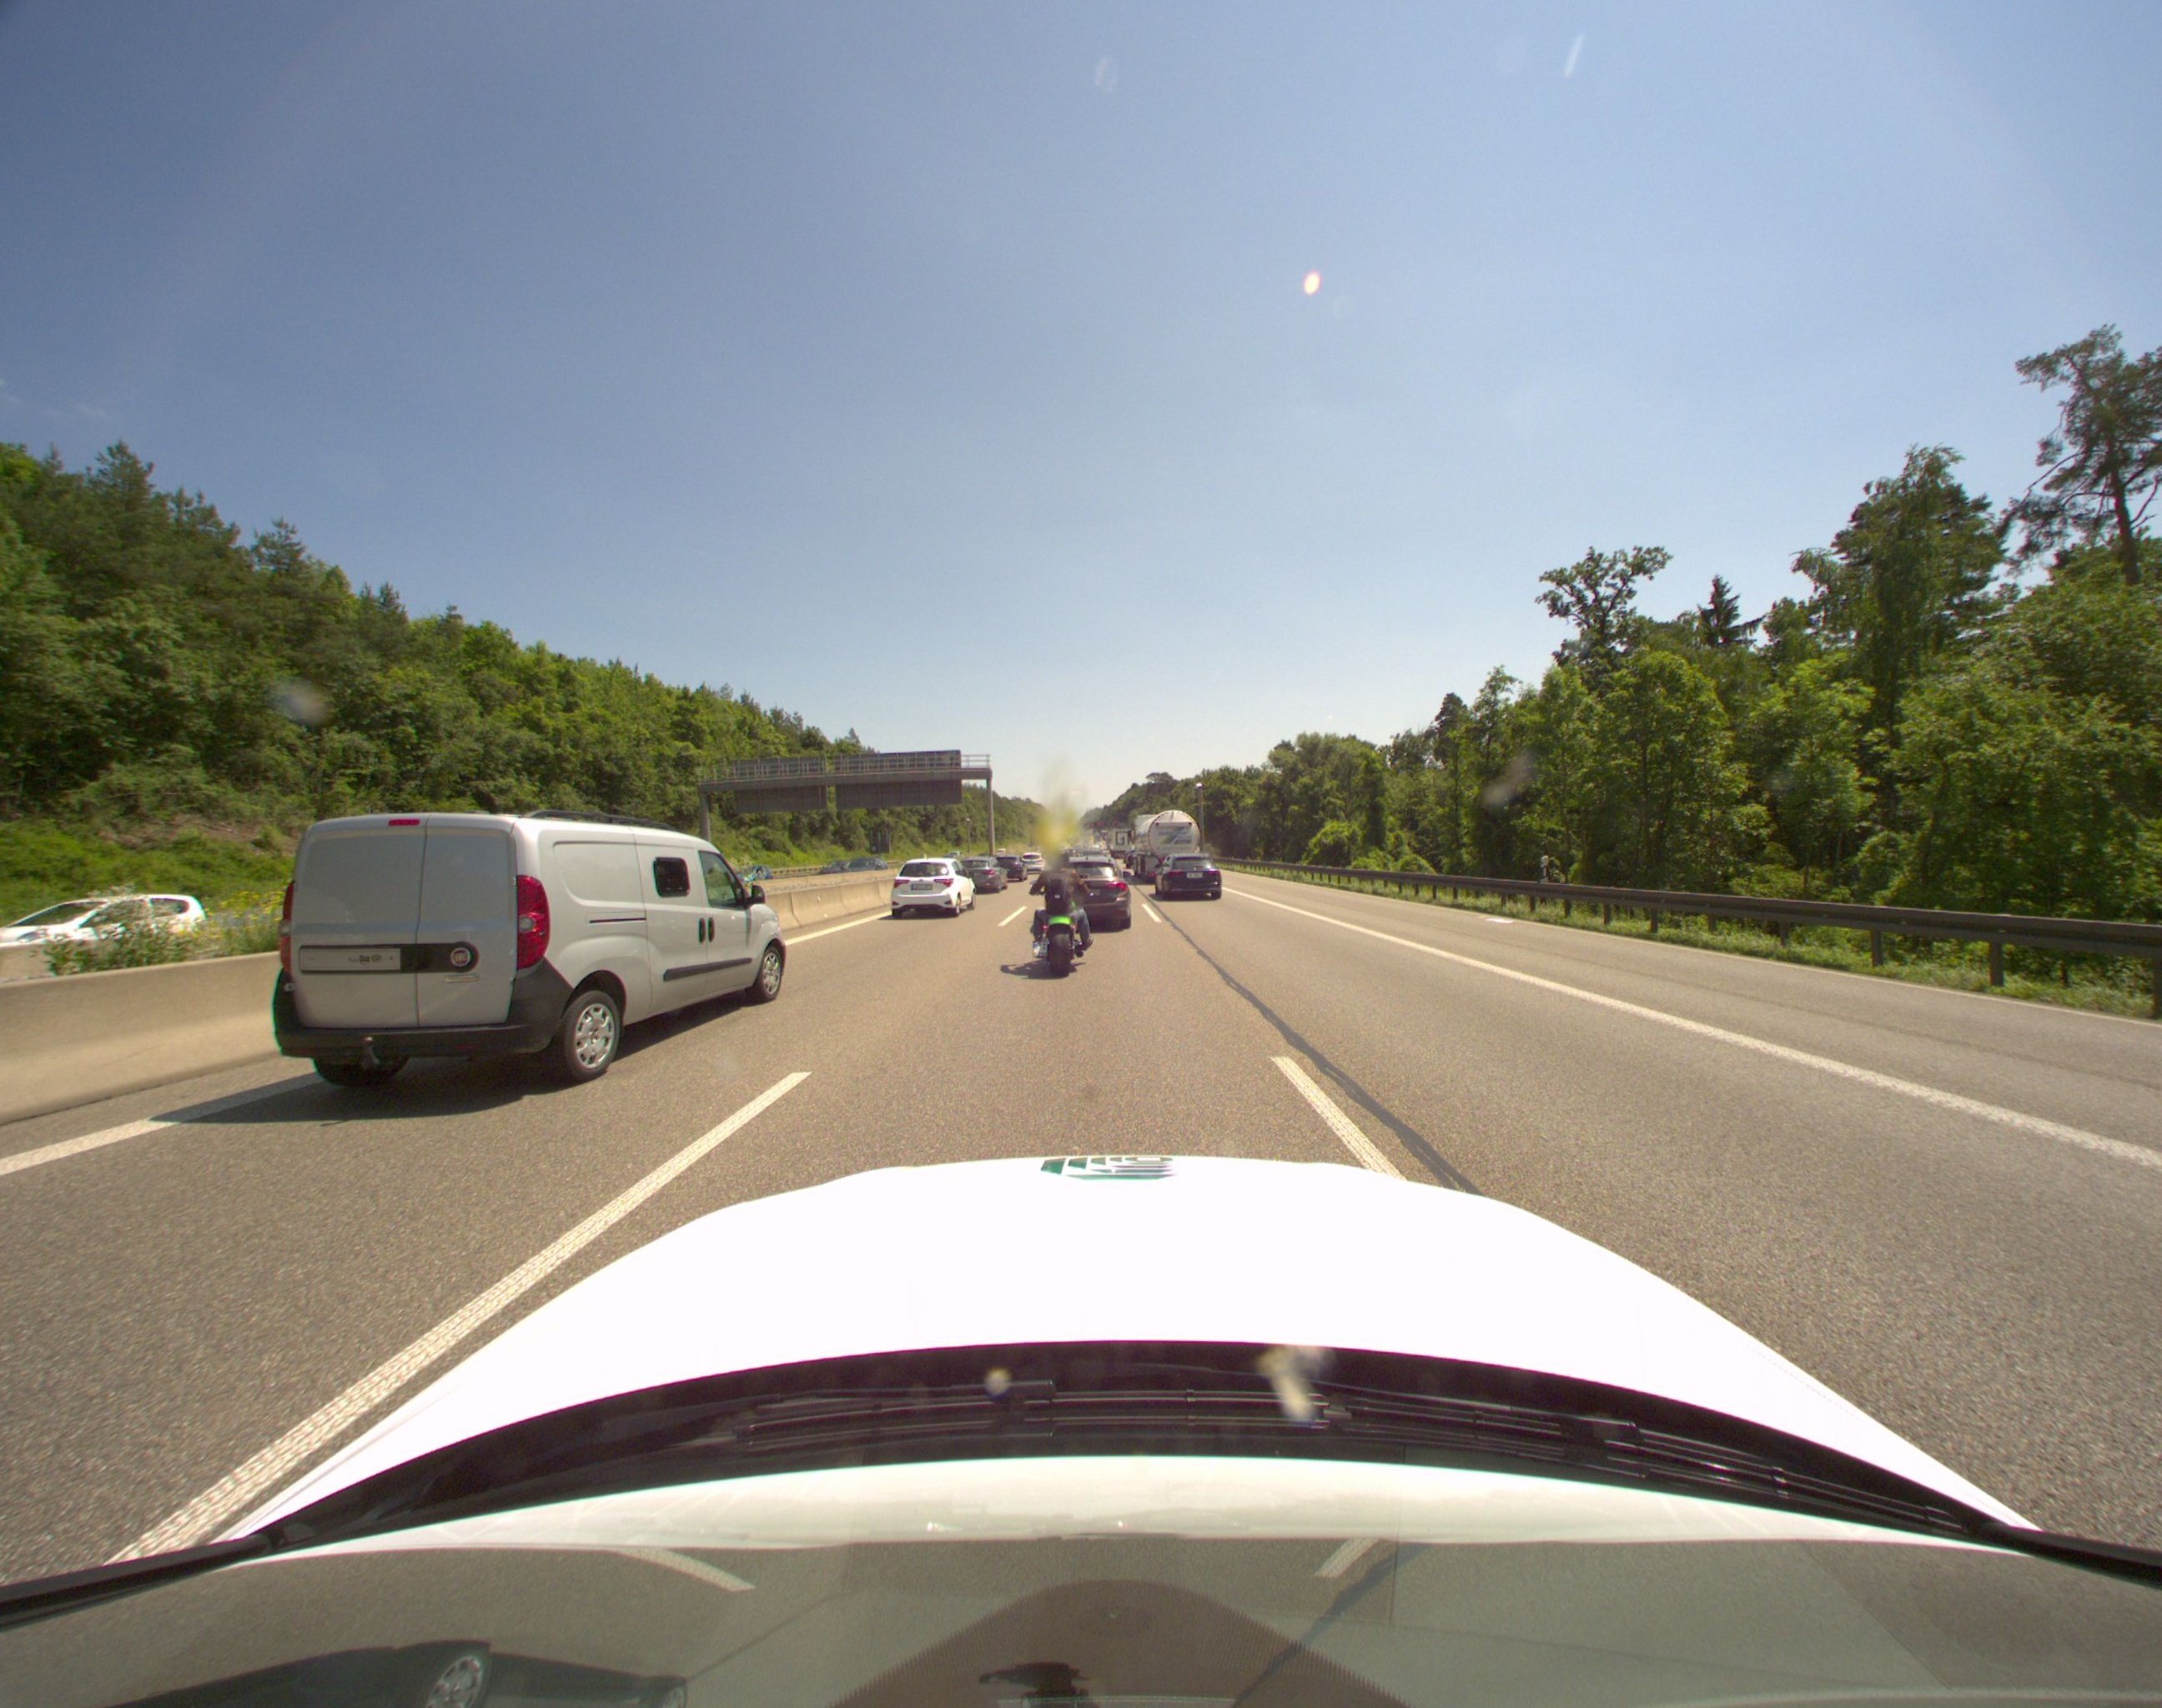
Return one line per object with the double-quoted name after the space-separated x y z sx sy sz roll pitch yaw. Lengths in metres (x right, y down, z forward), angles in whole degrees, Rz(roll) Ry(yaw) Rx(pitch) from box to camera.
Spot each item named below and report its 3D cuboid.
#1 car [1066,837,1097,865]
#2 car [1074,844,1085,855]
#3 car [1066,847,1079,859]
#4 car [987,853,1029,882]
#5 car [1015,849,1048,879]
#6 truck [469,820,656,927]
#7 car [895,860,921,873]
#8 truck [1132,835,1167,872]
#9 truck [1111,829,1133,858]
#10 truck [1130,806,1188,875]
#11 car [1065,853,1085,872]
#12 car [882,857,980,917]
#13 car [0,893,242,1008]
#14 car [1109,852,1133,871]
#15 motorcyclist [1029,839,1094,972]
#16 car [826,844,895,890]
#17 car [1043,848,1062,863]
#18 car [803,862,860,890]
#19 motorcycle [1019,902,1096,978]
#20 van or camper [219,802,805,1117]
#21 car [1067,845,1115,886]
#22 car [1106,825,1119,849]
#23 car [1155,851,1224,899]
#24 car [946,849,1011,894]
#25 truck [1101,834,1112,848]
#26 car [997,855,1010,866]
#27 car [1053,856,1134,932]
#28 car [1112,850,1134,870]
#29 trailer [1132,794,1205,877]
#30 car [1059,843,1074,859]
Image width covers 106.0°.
0.057 -0.162 55.632 1.987 1.775 3.999 -1 -1 0 "car"
-0.352 -0.902 159.525 1.986 2.013 4.001 -2 0 1 "car"
-1.129 -0.108 114.276 1.654 1.599 4.001 -1 -1 2 "car"
-3.907 0.741 43.929 1.988 1.464 3.997 -1 -1 -2 "car"
-3.451 0.718 57.744 1.987 2.014 4.000 -1 -1 1 "car"
-21.598 0.795 34.636 2.682 3.990 7.991 -1 -1 1 "truck"
-20.223 1.423 95.287 1.986 1.447 4.001 -1 -1 2 "car"
5.888 -0.068 71.061 2.380 2.979 8.252 -1 0 0 "truck"
5.697 -1.409 112.447 2.841 3.821 7.195 -1 -1 4 "truck"
4.366 -0.678 46.794 2.818 3.671 6.430 -1 -1 1 "truck"
-0.655 0.999 89.922 1.986 2.014 4.001 -1 -1 1 "car"
-3.865 0.835 21.658 1.769 1.411 4.001 -1 -1 1 "car"
-20.300 1.898 16.994 1.844 2.014 3.514 -1 -1 2 "car"
3.224 0.615 66.265 1.769 1.527 4.001 -1 -1 1 "car"
-0.242 0.665 10.905 0.796 1.688 1.017 -1 -1 1 "motorcyclist"
-10.236 0.624 38.119 1.986 2.014 4.002 -1 -1 2 "car"
-2.949 0.201 85.378 1.757 1.442 4.001 -1 -1 2 "car"
-14.470 1.262 47.444 1.986 1.520 4.001 -1 -1 1 "car"
-0.269 1.136 11.248 0.932 0.793 2.299 -1 0 1 "motorcycle"
-4.217 0.652 7.197 1.846 1.880 4.563 -1 0 2 "van or camper"
0.436 0.514 36.388 1.987 1.711 3.999 -1 -1 0 "car"
5.687 -3.056 149.149 2.159 3.893 9.331 -1 -1 1 "car"
3.540 0.677 27.322 1.785 1.458 4.624 -1 -1 1 "car"
-4.098 0.685 33.233 1.986 1.684 4.331 -1 -1 1 "car"
6.330 -3.207 203.514 2.687 3.405 10.480 -2 0 1 "truck"
-15.511 1.280 162.171 1.986 2.014 4.474 -1 -1 2 "car"
0.291 0.774 17.728 1.535 1.450 4.001 -1 0 1 "car"
4.232 0.619 82.522 1.987 2.014 3.999 -1 -1 0 "car"
4.268 -0.752 41.917 2.818 3.671 10.734 -1 -1 1 "trailer"
-1.764 -0.379 101.662 1.654 1.978 4.001 -1 -1 2 "car"
